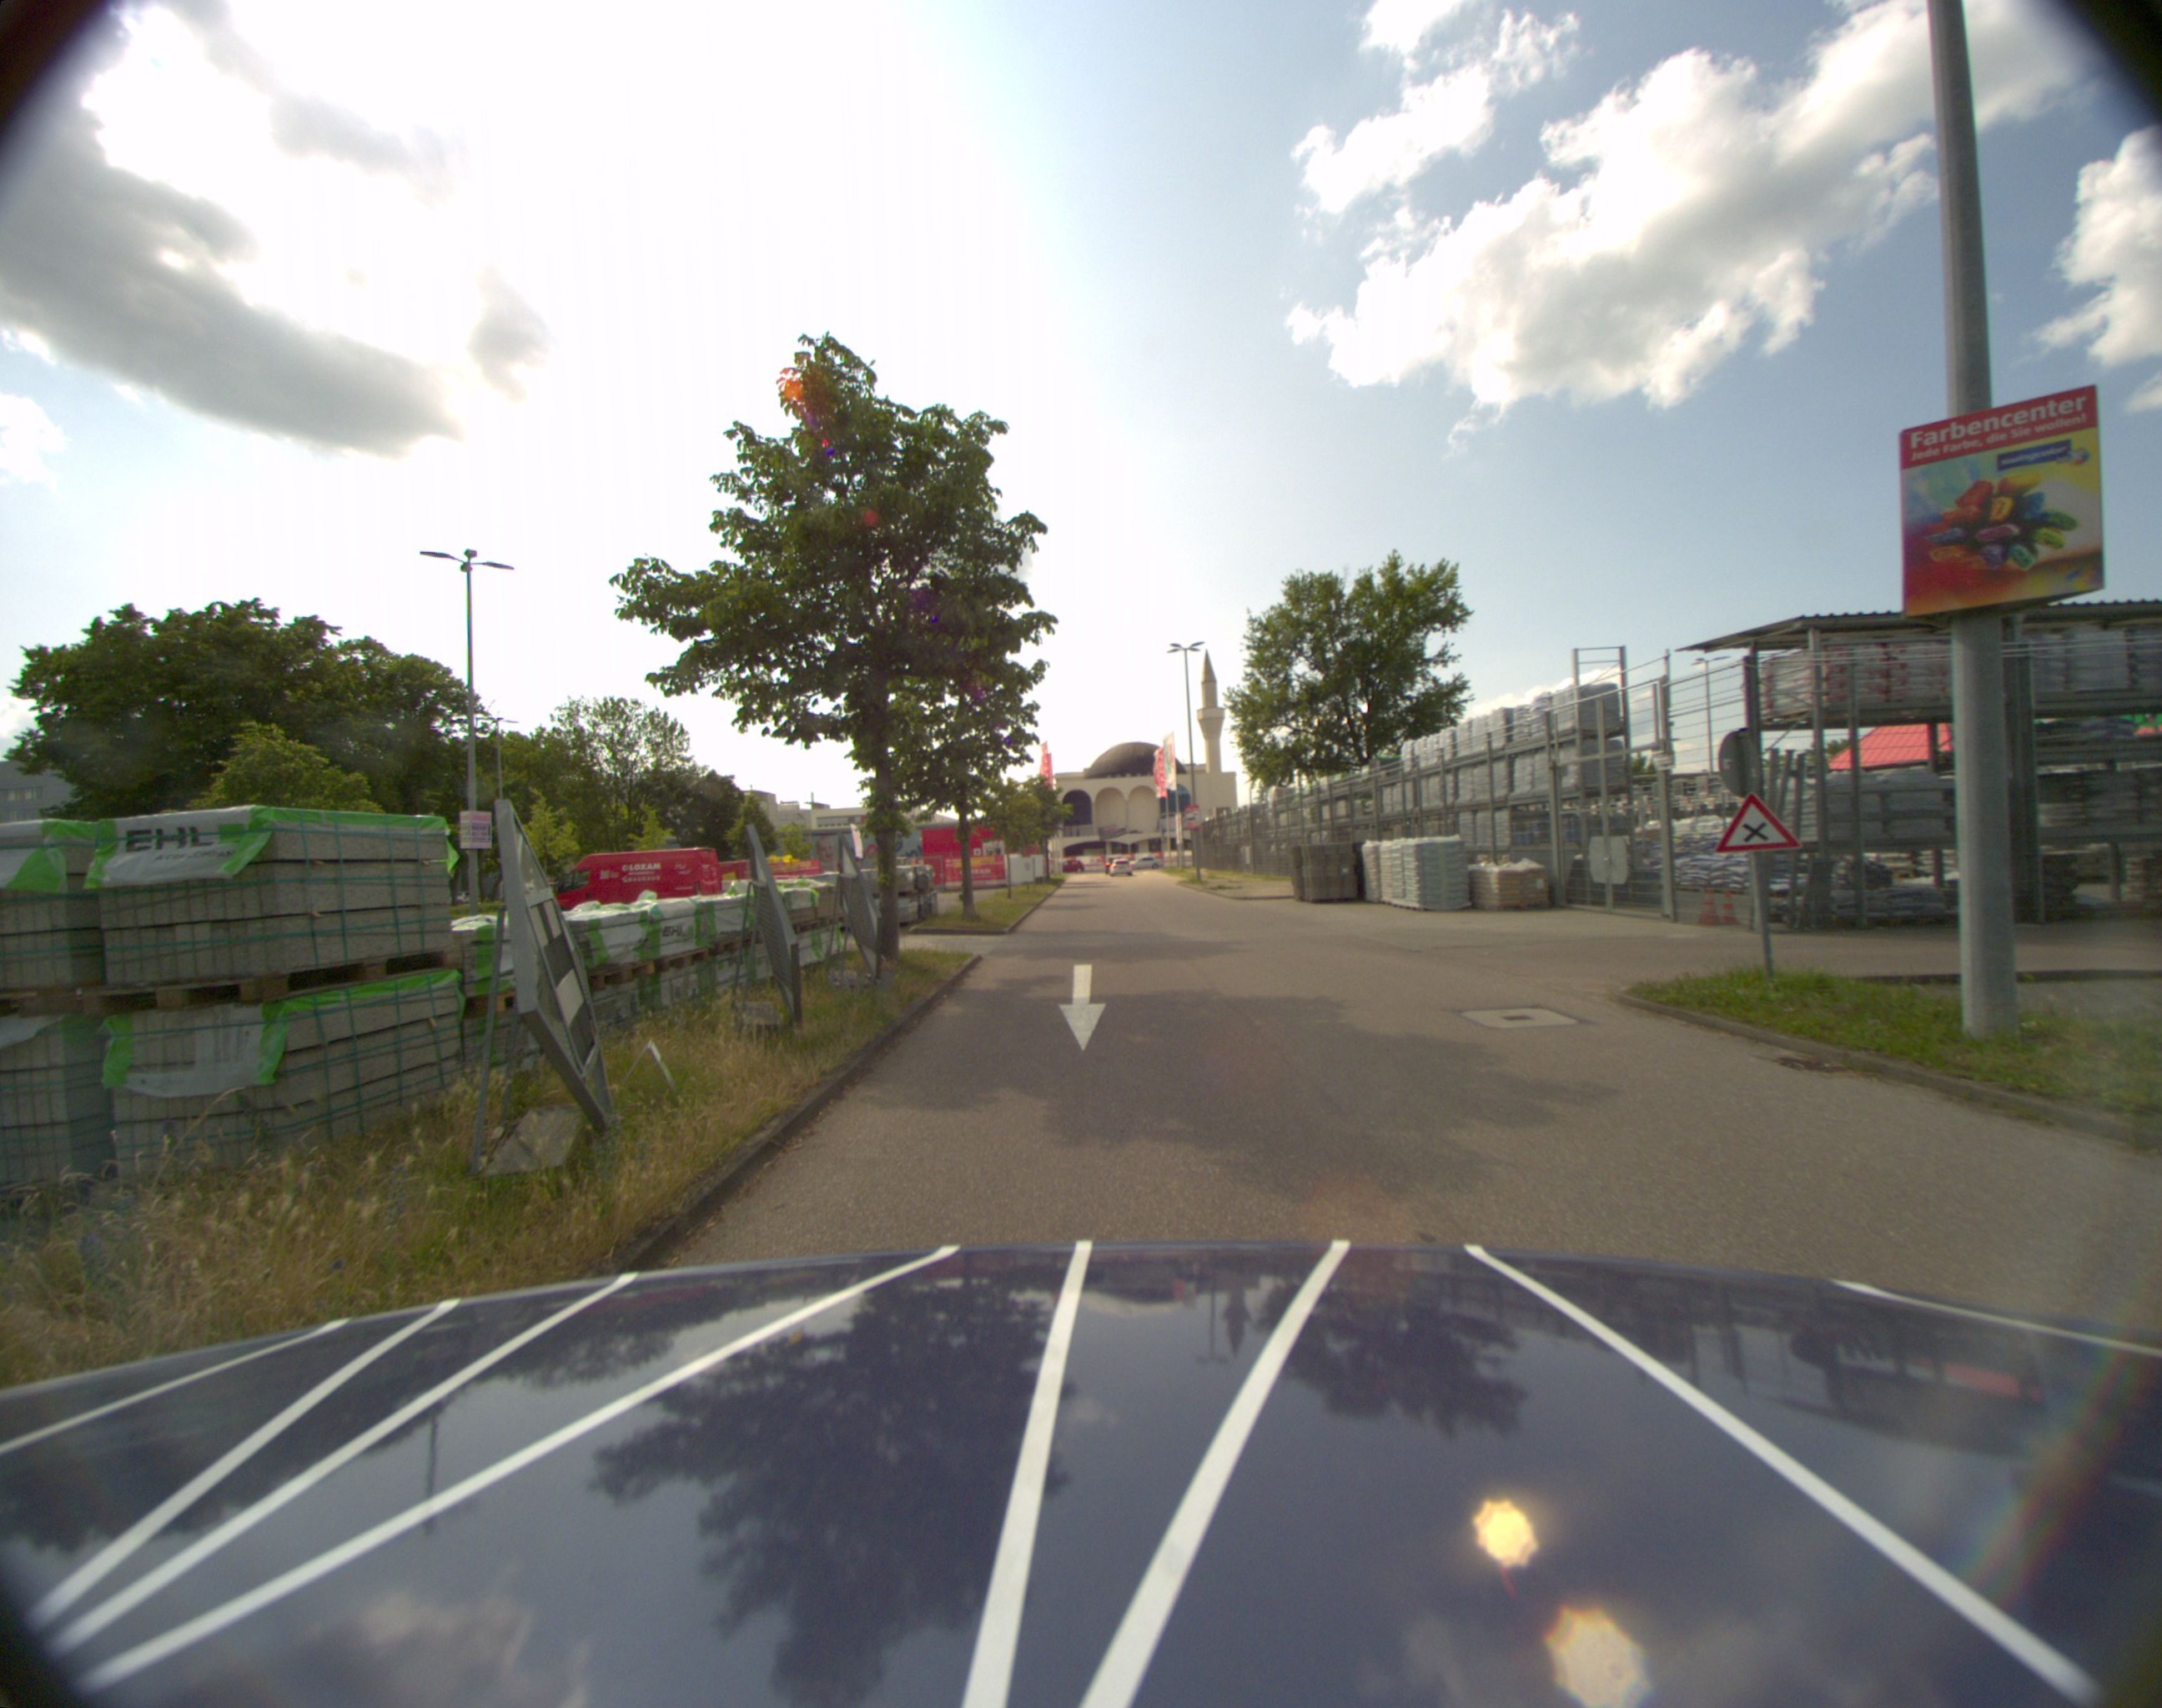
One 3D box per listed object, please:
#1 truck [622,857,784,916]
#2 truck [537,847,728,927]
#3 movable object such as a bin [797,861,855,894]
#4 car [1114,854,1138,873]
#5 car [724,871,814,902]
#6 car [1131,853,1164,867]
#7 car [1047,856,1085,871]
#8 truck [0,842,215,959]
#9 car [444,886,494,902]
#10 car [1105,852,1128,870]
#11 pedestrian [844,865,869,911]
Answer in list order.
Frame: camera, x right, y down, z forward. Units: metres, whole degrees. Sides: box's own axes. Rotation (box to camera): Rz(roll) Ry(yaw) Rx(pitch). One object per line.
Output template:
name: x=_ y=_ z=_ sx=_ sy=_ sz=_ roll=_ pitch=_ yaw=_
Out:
truck: x=-16.428 y=1.368 z=33.261 sx=5.860 sy=2.242 sz=2.173 roll=-3 pitch=0 yaw=-2
truck: x=-15.941 y=1.147 z=27.272 sx=5.442 sy=2.500 sz=2.116 roll=-3 pitch=0 yaw=-2
movable object such as a bin: x=-15.693 y=1.451 z=46.851 sx=3.010 sy=1.833 sz=1.389 roll=-3 pitch=0 yaw=1
car: x=3.845 y=0.816 z=65.277 sx=1.808 sy=1.456 sz=4.329 roll=-3 pitch=0 yaw=0
car: x=-16.760 y=1.720 z=40.922 sx=4.144 sy=1.406 sz=1.617 roll=-2 pitch=1 yaw=-5
car: x=7.587 y=0.683 z=87.259 sx=3.707 sy=1.358 sz=1.651 roll=-2 pitch=0 yaw=3
car: x=-1.716 y=1.045 z=87.194 sx=4.190 sy=1.500 sz=1.792 roll=-3 pitch=0 yaw=2
truck: x=-34.317 y=1.476 z=24.205 sx=2.728 sy=3.577 sz=9.038 roll=-2 pitch=0 yaw=2
car: x=-71.225 y=4.643 z=88.487 sx=3.998 sy=1.574 sz=1.999 roll=-3 pitch=0 yaw=-3
car: x=3.424 y=0.710 z=73.595 sx=1.920 sy=1.608 sz=4.374 roll=-2 pitch=0 yaw=-1
pedestrian: x=-8.558 y=1.297 z=28.988 sx=0.600 sy=1.682 sz=0.879 roll=-2 pitch=1 yaw=2
